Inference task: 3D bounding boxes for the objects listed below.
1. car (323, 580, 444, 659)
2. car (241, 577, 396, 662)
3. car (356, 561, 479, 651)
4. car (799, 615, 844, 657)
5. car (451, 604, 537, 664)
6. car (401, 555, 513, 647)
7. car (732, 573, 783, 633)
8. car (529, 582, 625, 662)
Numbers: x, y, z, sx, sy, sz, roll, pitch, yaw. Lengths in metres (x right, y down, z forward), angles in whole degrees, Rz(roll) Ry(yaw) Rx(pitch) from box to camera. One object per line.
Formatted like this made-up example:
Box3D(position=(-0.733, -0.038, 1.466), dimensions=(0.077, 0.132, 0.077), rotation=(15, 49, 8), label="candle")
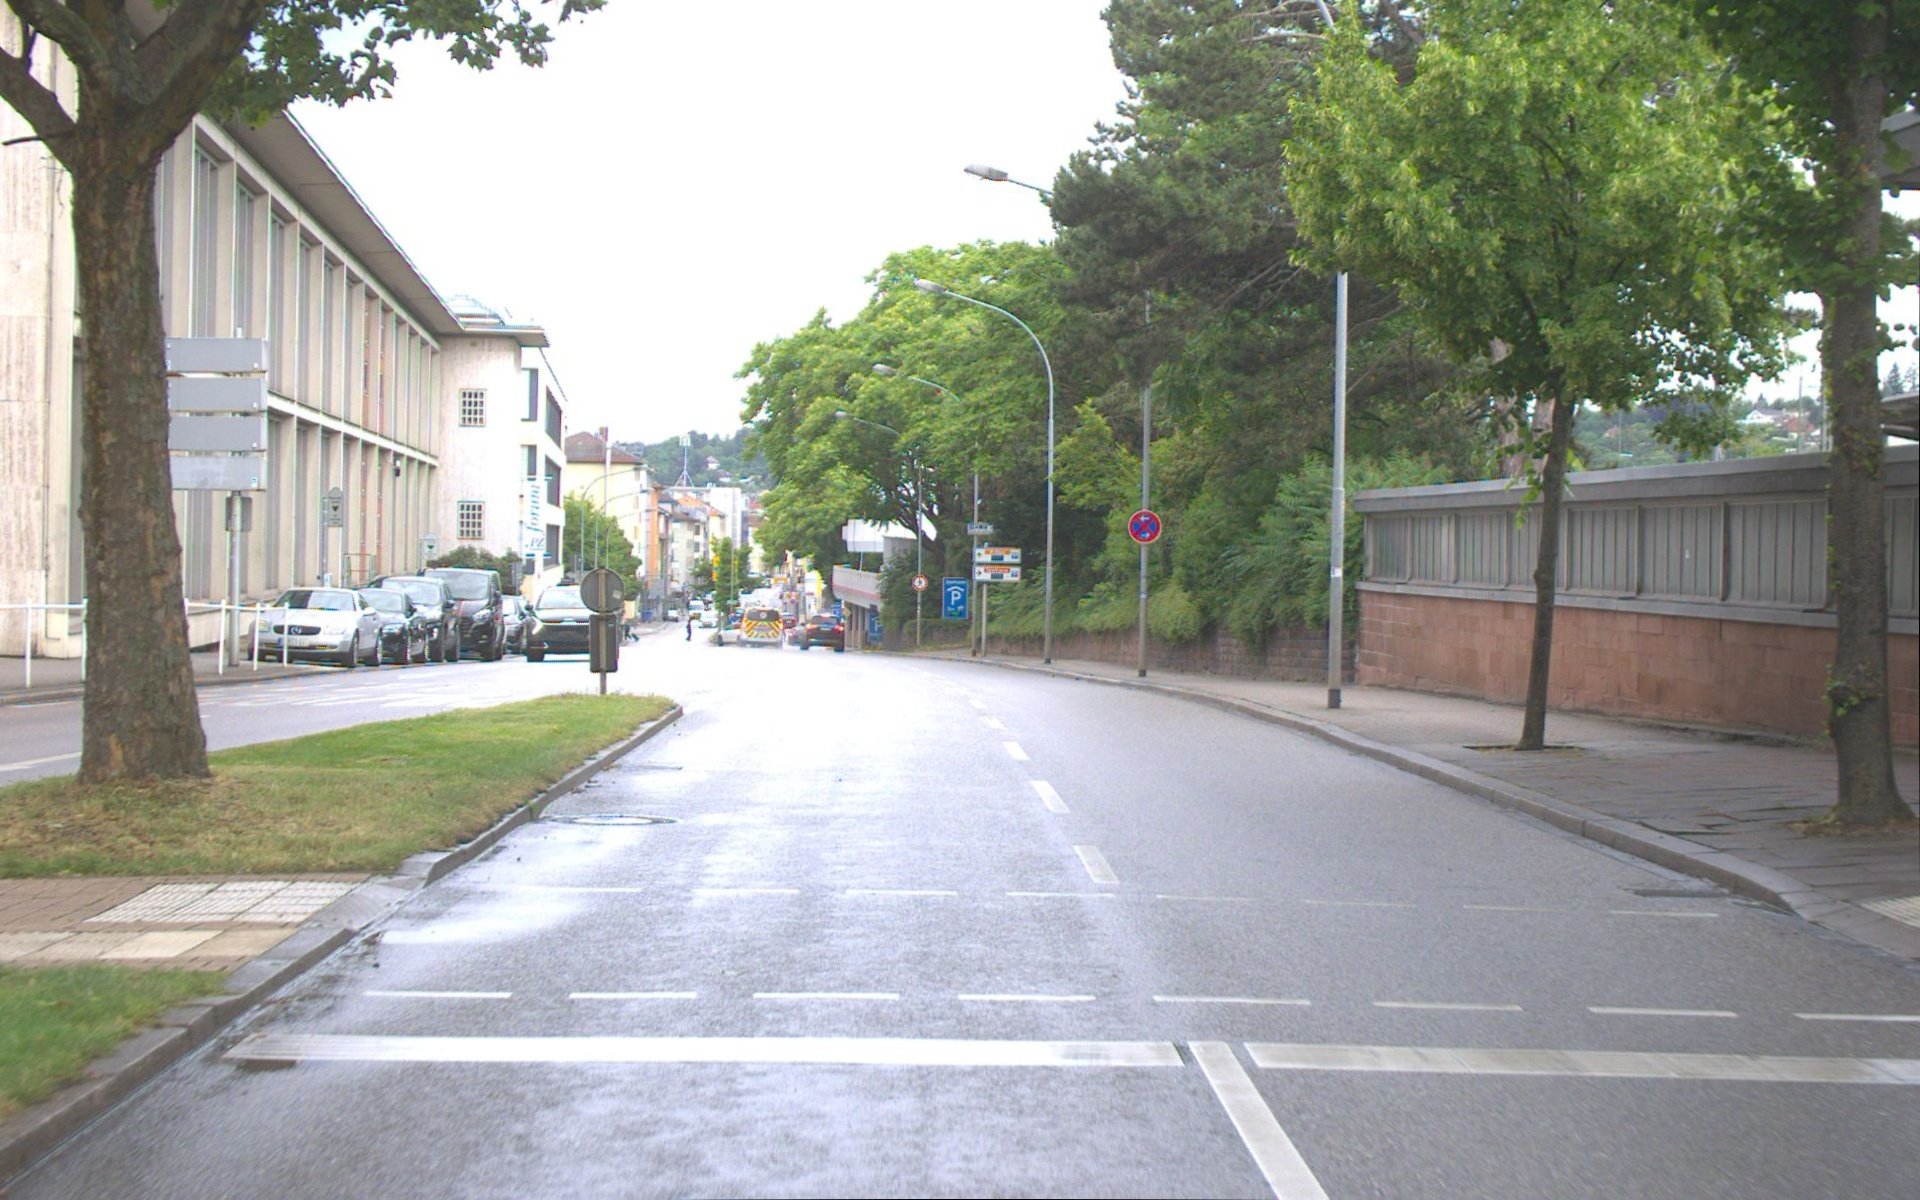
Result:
Box3D(position=(-10.398, 0.340, 62.224), dimensions=(1.542, 1.349, 4.110), rotation=(1, 0, -1), label="car")
Box3D(position=(-10.491, 0.303, 56.442), dimensions=(1.691, 1.293, 4.093), rotation=(1, 0, 1), label="car")
Box3D(position=(-10.621, 0.118, 67.578), dimensions=(1.797, 1.670, 4.603), rotation=(1, 0, -2), label="car")
Box3D(position=(-6.807, 1.766, 168.947), dimensions=(2.091, 1.904, 4.100), rotation=(-1, 1, -3), label="car")
Box3D(position=(-12.318, 0.876, 91.123), dimensions=(1.815, 1.479, 4.910), rotation=(1, 0, -3), label="car")
Box3D(position=(-11.057, 0.010, 75.892), dimensions=(1.948, 1.937, 4.996), rotation=(1, 0, -3), label="car")
Box3D(position=(-9.230, 0.132, 157.052), dimensions=(2.264, 2.647, 4.001), rotation=(0, 1, -3), label="car")
Box3D(position=(-8.209, 0.438, 73.899), dimensions=(1.821, 1.655, 4.338), rotation=(0, 0, -3), label="car")
